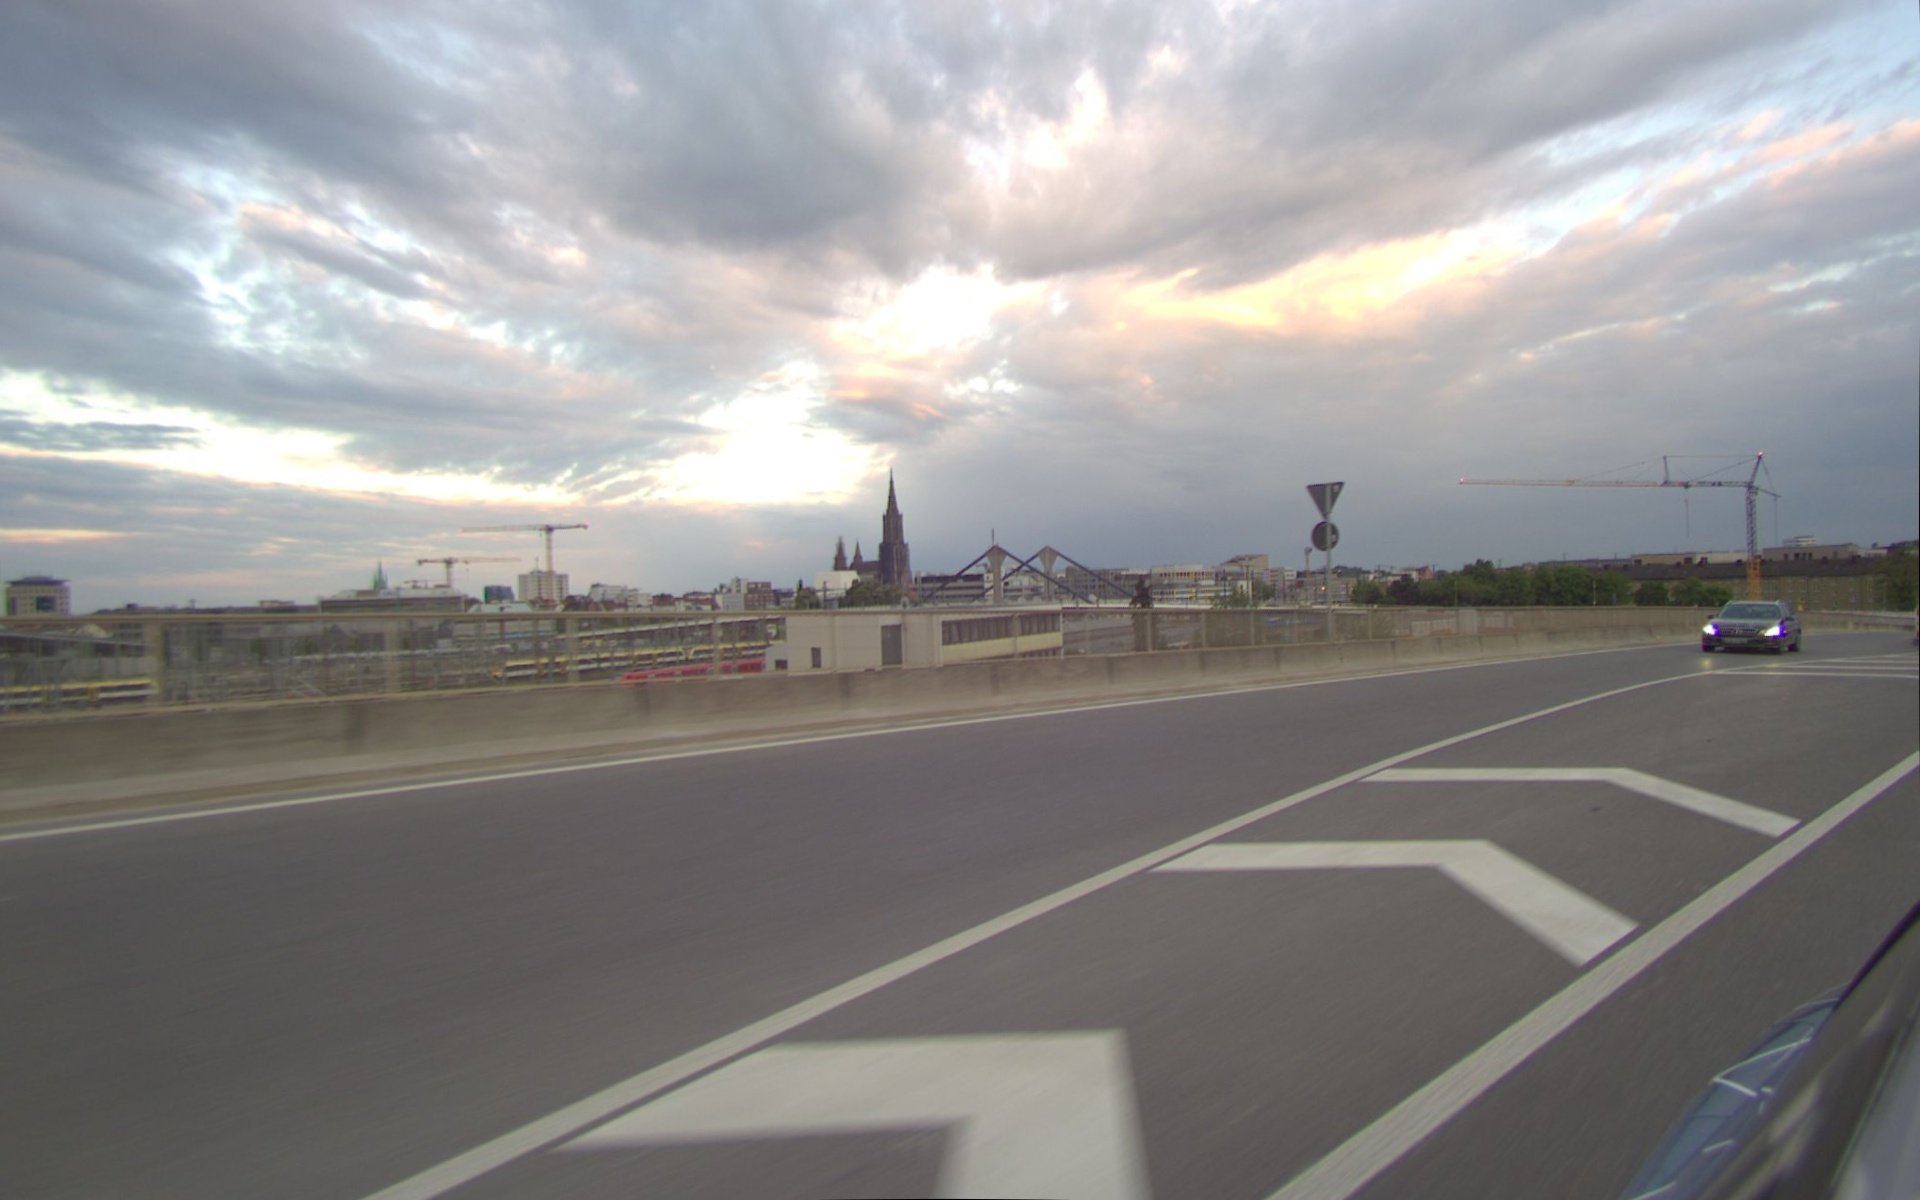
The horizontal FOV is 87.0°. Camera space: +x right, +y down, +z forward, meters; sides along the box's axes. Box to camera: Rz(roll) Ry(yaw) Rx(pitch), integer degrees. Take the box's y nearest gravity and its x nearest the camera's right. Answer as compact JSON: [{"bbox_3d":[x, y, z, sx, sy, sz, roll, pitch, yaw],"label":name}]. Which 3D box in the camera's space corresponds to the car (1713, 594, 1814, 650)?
[{"bbox_3d":[23.349,0.595,29.355,3.933,1.510,1.751,0,0,-43],"label":"car"}]
